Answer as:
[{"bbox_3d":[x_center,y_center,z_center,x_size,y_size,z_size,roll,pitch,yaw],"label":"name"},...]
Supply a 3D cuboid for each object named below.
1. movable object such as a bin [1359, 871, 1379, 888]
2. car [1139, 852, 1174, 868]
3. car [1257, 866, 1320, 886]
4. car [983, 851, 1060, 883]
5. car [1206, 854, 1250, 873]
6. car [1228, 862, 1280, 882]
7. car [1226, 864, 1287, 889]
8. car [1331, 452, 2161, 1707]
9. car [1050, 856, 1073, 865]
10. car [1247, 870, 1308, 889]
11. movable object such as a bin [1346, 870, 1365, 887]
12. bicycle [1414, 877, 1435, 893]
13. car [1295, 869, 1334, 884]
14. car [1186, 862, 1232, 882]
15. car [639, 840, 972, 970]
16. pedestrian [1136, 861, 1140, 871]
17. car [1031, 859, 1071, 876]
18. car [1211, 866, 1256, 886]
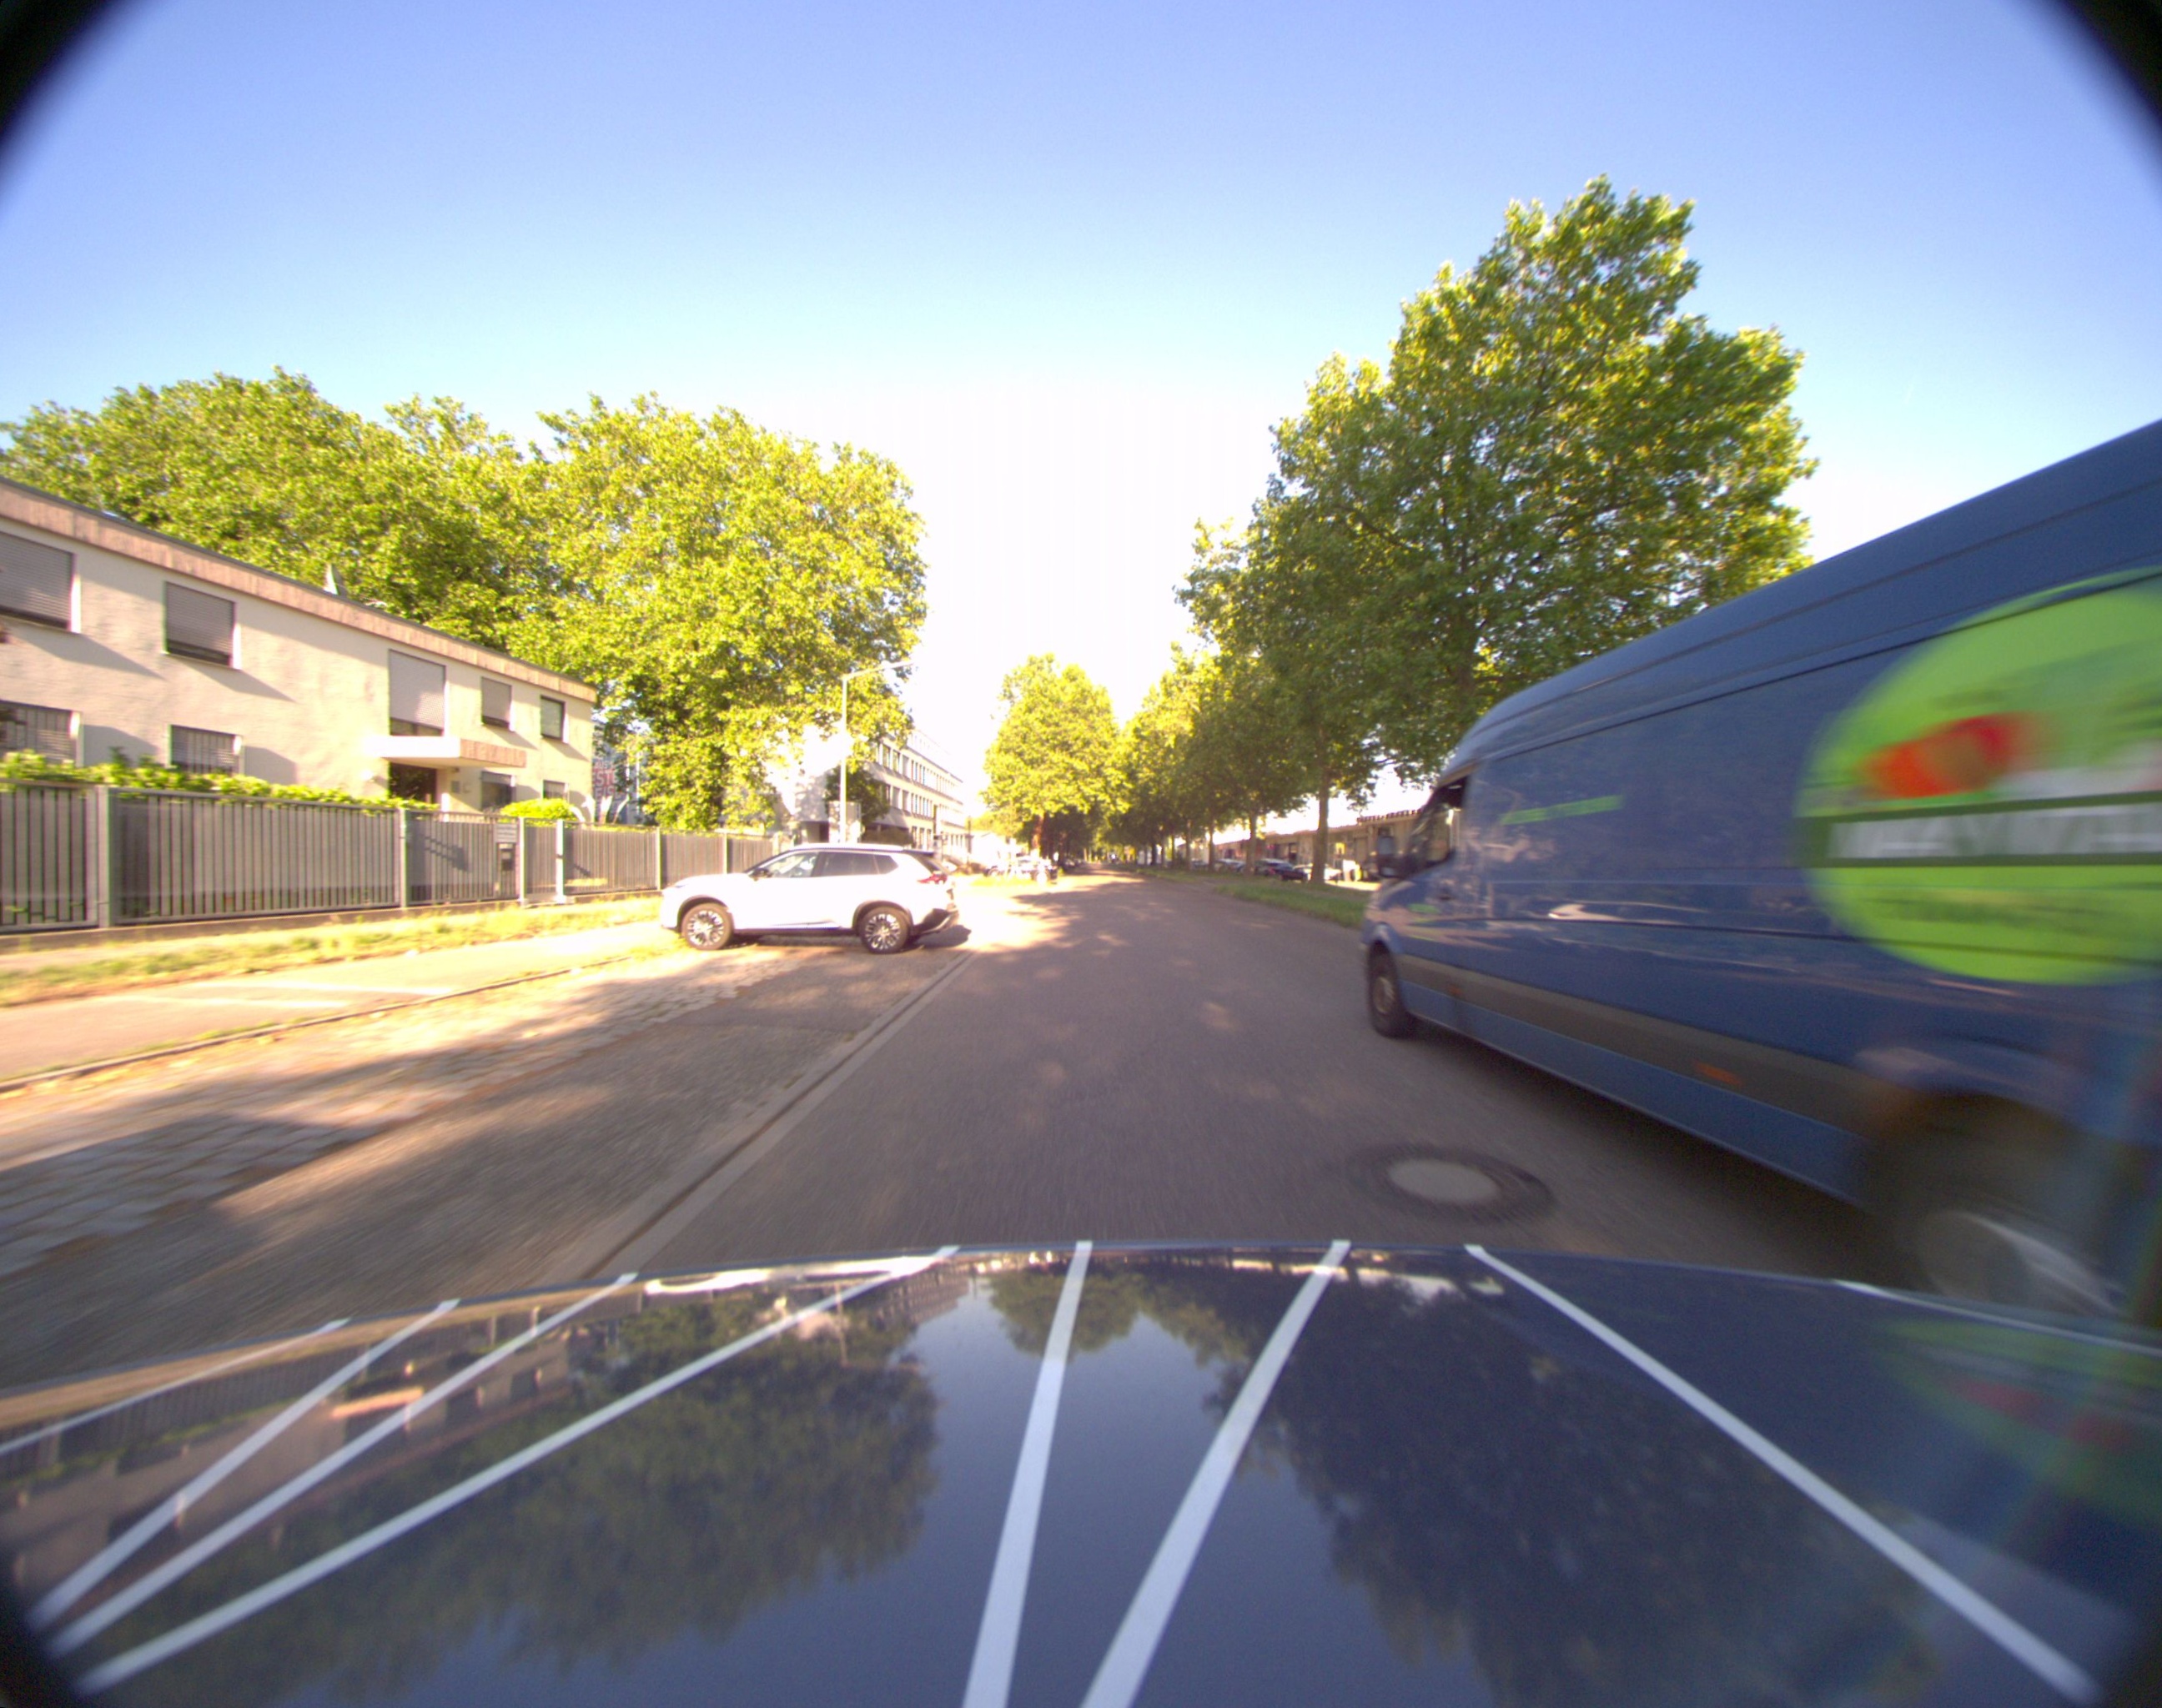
[{"bbox_3d":[24.871,2.178,65.707,1.059,1.423,1.627,-1,0,-2],"label":"movable object such as a bin"},{"bbox_3d":[15.778,1.309,159.176,6.972,2.835,2.596,5,-2,-27],"label":"car"},{"bbox_3d":[14.328,1.514,52.377,4.494,1.298,1.994,1,-1,-40],"label":"car"},{"bbox_3d":[-3.644,0.792,46.831,4.582,1.705,1.943,3,0,-3],"label":"car"},{"bbox_3d":[13.723,0.841,71.018,1.994,1.689,4.271,-1,0,44],"label":"car"},{"bbox_3d":[14.970,1.513,65.704,4.270,1.620,1.995,-1,0,-36],"label":"car"},{"bbox_3d":[13.339,1.663,57.682,4.493,1.720,1.995,-1,0,-36],"label":"car"},{"bbox_3d":[3.369,0.518,3.589,2.133,2.643,7.002,1,-1,1],"label":"car"},{"bbox_3d":[-3.537,1.222,137.381,3.944,1.504,1.667,3,0,0],"label":"car"},{"bbox_3d":[14.252,1.819,54.987,4.494,1.298,1.994,1,-1,-40],"label":"car"},{"bbox_3d":[24.250,2.187,67.257,1.059,1.423,1.573,-1,0,-2],"label":"movable object such as a bin"},{"bbox_3d":[25.259,2.278,55.960,0.537,1.052,2.159,-6,0,2],"label":"bicycle"},{"bbox_3d":[23.158,2.184,75.327,3.288,1.398,1.712,-1,0,39],"label":"car"},{"bbox_3d":[12.431,1.714,73.814,4.006,1.739,1.995,-1,0,-31],"label":"car"},{"bbox_3d":[-4.291,0.774,12.464,4.636,1.702,2.000,3,0,-1],"label":"car"},{"bbox_3d":[10.937,2.293,145.983,0.805,1.762,0.940,-1,0,3],"label":"pedestrian"},{"bbox_3d":[-3.300,1.469,83.847,4.295,1.477,1.861,4,0,-1],"label":"car"},{"bbox_3d":[13.622,1.934,67.743,1.994,1.620,4.271,-1,0,43],"label":"car"}]
